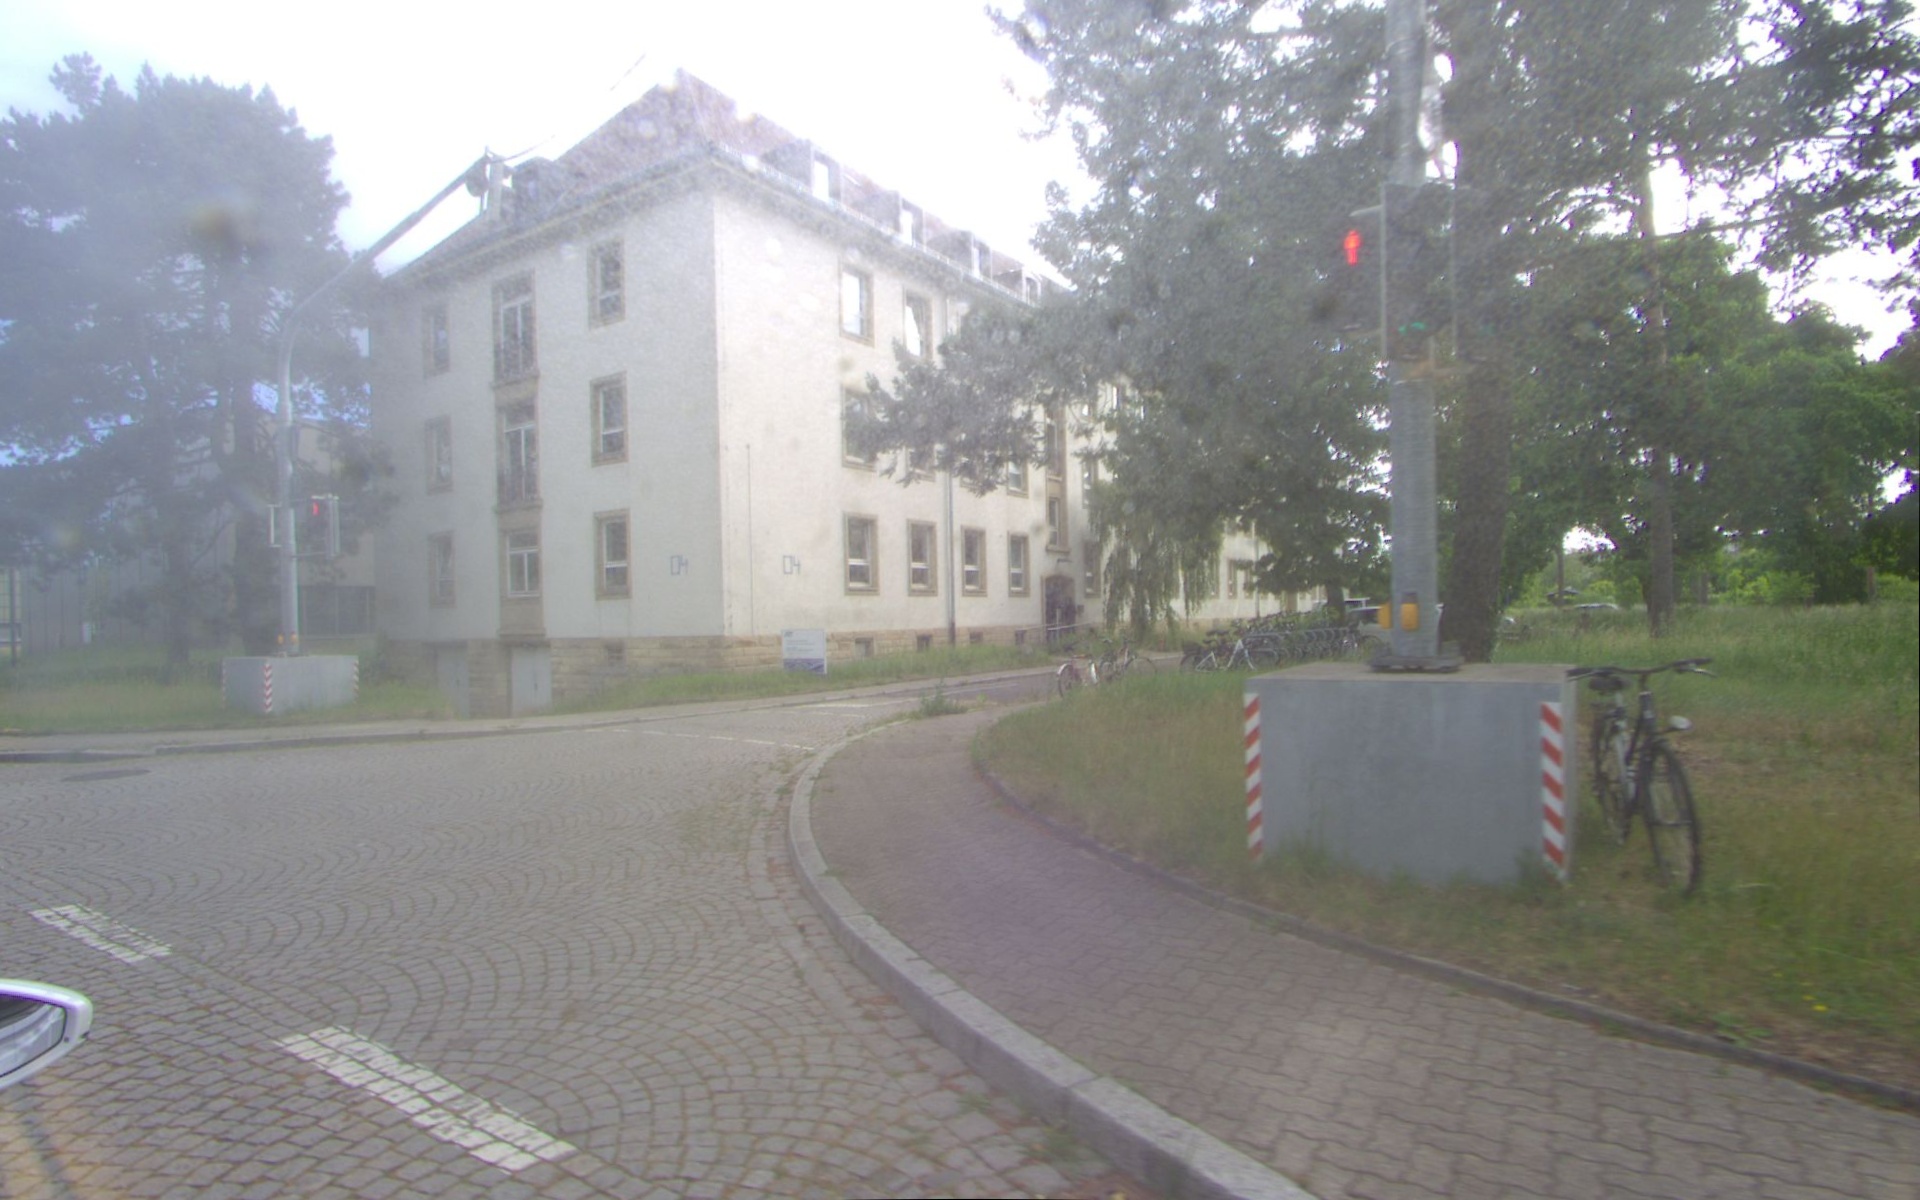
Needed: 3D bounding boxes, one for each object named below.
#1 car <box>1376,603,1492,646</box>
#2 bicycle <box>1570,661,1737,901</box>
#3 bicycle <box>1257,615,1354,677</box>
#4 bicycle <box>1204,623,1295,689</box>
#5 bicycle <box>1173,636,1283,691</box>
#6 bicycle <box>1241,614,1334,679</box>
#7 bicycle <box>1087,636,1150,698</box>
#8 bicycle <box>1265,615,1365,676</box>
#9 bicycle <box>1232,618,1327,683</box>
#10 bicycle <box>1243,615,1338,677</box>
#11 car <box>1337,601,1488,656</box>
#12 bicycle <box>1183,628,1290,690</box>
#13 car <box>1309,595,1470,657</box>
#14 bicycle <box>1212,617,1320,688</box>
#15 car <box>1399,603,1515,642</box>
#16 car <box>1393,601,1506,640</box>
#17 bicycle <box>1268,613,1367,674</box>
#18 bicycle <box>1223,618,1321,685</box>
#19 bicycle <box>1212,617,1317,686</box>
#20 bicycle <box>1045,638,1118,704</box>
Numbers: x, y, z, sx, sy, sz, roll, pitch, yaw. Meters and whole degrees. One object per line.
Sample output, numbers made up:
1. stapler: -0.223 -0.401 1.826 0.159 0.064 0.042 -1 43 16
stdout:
1. car: 19.114 0.991 40.428 3.946 1.639 1.988 -2 -1 35
2. bicycle: 3.375 0.786 4.922 0.565 0.885 1.695 -1 -1 34
3. bicycle: 7.761 1.021 22.545 1.991 1.337 0.538 -2 -1 39
4. bicycle: 5.596 1.066 19.410 1.619 1.231 0.539 -1 -1 39
5. bicycle: 4.904 1.151 18.395 1.879 0.961 0.539 -2 -1 39
6. bicycle: 7.051 0.993 21.611 1.830 1.337 0.553 -1 -1 39
7. bicycle: 2.851 1.181 17.923 0.535 1.027 1.533 -1 -1 33
8. bicycle: 8.128 1.034 22.981 2.106 1.337 0.552 -2 -1 39
9. bicycle: 6.736 1.059 21.185 1.895 1.337 0.390 -2 -1 39
10. bicycle: 7.303 1.009 22.175 1.915 1.337 0.551 -2 -1 39
11. car: 13.602 0.860 30.174 3.880 1.550 1.851 -2 -1 36
12. bicycle: 5.220 1.098 18.968 1.879 1.115 0.539 -2 -1 39
13. car: 14.306 0.885 33.722 4.776 1.935 2.236 -1 -1 19
14. bicycle: 6.004 1.014 19.743 2.023 1.337 0.435 -2 -1 39
15. car: 22.329 1.035 45.040 4.456 1.639 1.988 -2 -1 35
16. car: 23.491 1.010 48.102 4.633 1.796 1.988 -2 -1 35
17. bicycle: 8.420 1.009 23.639 2.077 1.385 0.754 -1 0 39
18. bicycle: 6.465 1.050 20.826 1.897 1.337 0.503 -2 -1 39
19. bicycle: 6.159 1.033 20.323 1.952 1.337 0.574 -2 -1 39
20. bicycle: 2.005 1.132 16.383 0.523 0.993 1.617 -1 -1 33
